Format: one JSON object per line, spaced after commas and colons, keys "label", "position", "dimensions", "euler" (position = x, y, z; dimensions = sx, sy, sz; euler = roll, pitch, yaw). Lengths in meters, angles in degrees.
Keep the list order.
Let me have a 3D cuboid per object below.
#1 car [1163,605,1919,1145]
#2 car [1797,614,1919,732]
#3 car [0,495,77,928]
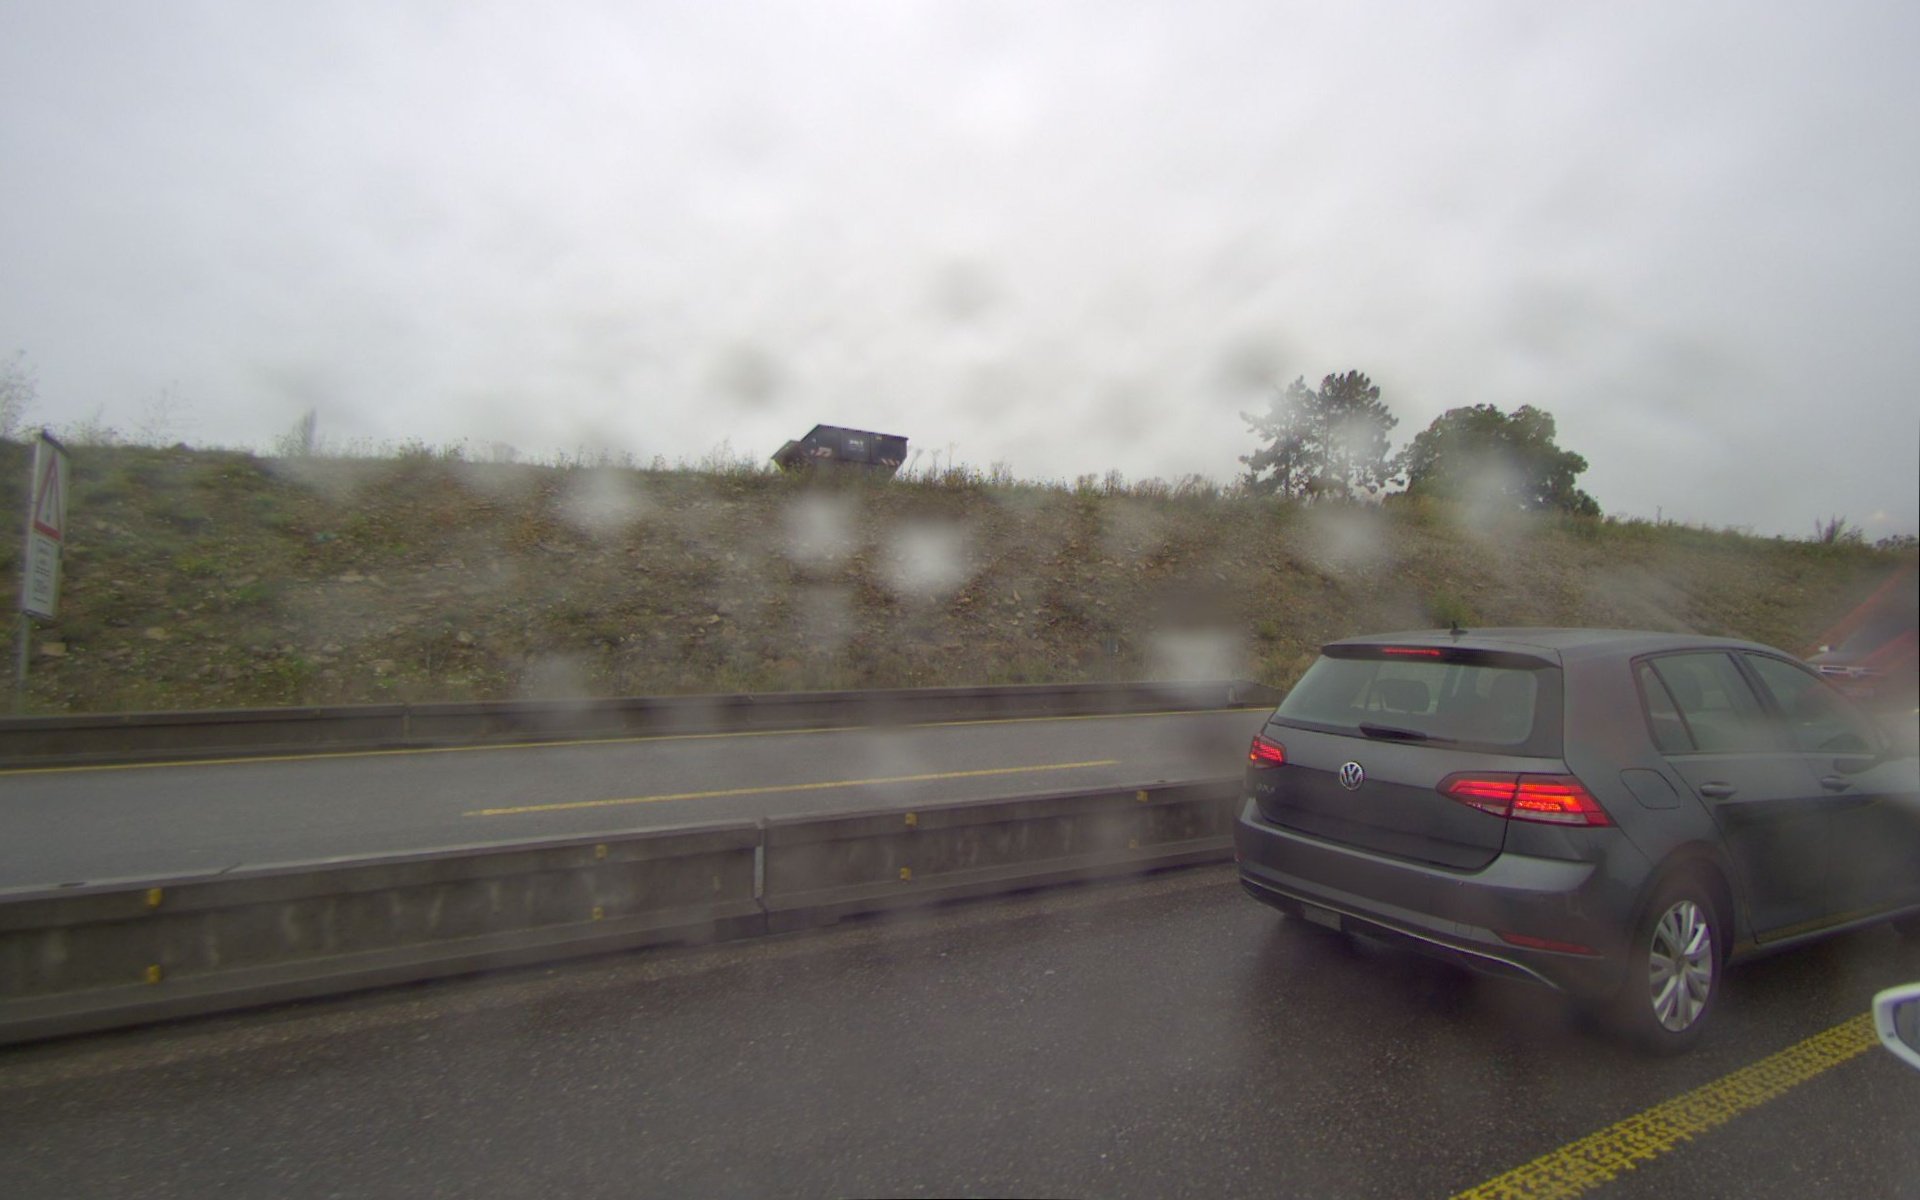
{"label": "car", "position": [3.111, 0.843, 4.660], "dimensions": [4.317, 1.526, 1.606], "euler": [1, -2, -31]}
{"label": "car", "position": [14.964, 1.084, 15.654], "dimensions": [3.955, 1.619, 1.751], "euler": [1, 1, -31]}
{"label": "car", "position": [-6.549, 0.443, 3.242], "dimensions": [5.212, 1.912, 1.991], "euler": [1, 1, -30]}
